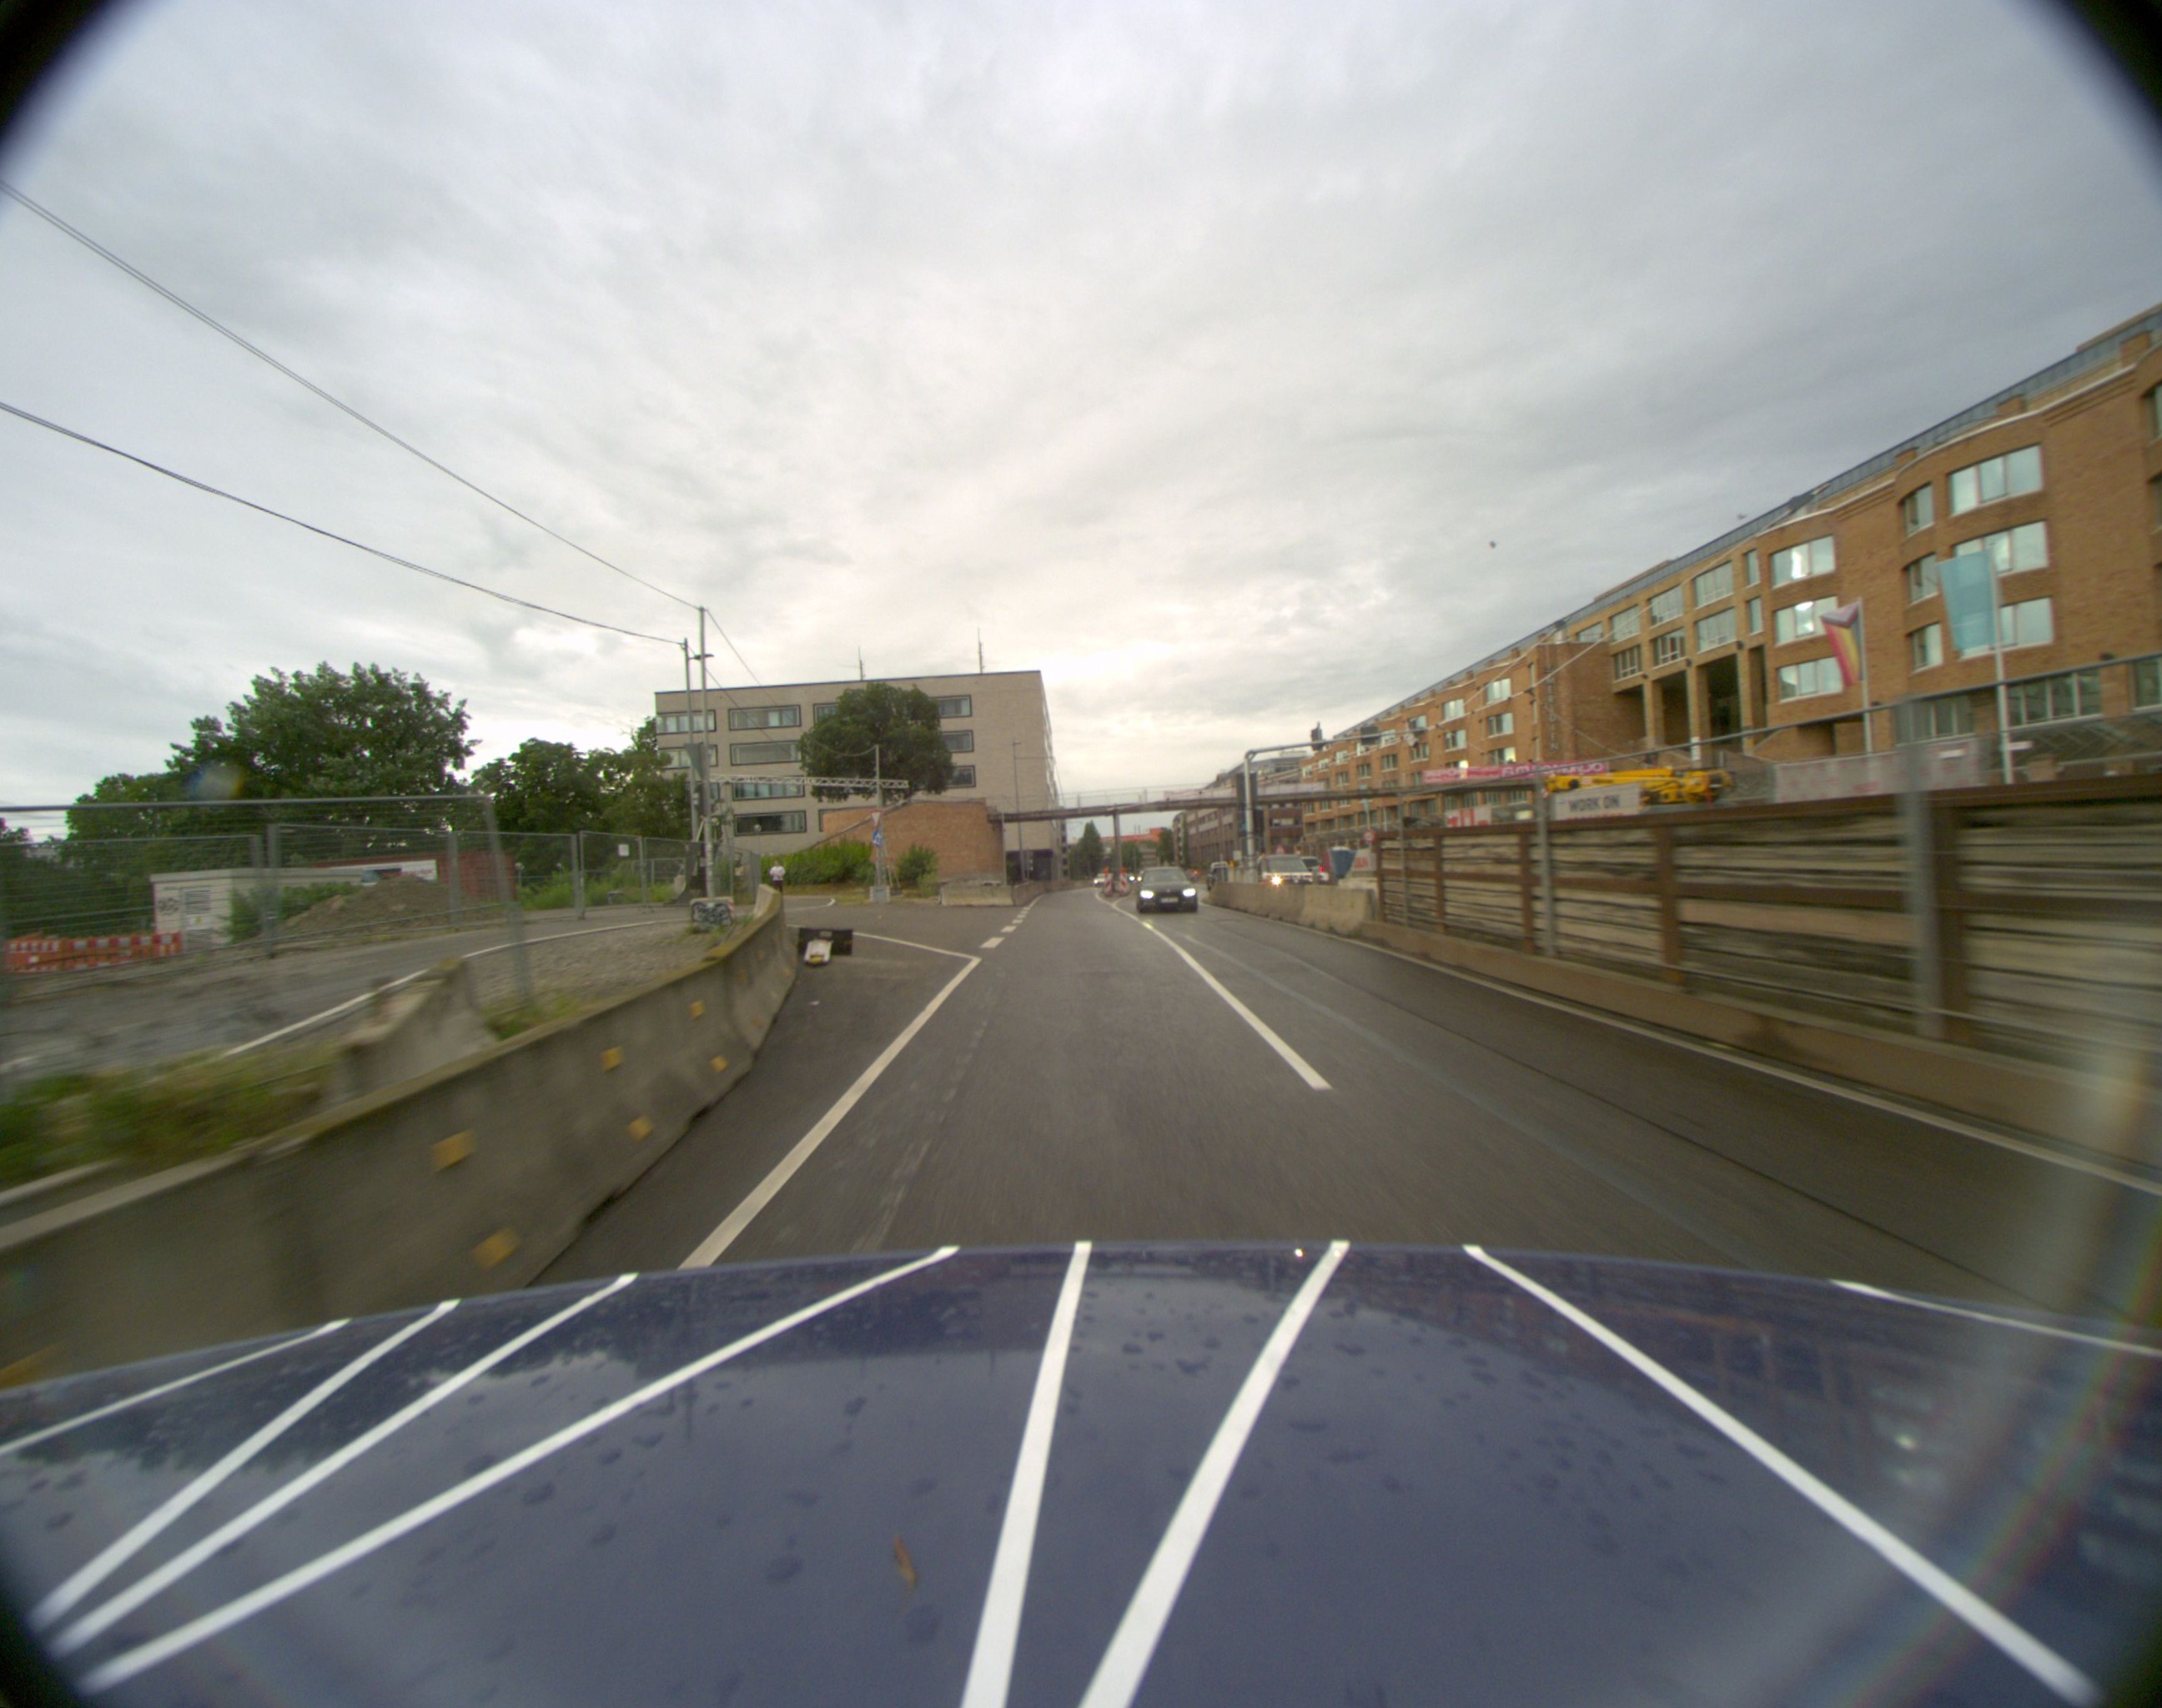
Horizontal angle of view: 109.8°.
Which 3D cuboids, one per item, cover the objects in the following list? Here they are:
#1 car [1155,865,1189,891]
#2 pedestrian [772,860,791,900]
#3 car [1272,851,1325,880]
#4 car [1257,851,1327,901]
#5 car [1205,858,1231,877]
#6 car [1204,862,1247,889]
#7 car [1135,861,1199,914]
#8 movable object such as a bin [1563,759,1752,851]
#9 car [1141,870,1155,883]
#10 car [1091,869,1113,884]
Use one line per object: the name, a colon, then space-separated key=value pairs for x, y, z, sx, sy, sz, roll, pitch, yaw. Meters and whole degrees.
car: x=6.068 y=1.578 z=50.945 sx=1.772 sy=1.524 sz=4.658 roll=-4 pitch=-1 yaw=2
pedestrian: x=-13.765 y=1.199 z=34.918 sx=0.692 sy=1.768 sz=0.814 roll=-3 pitch=0 yaw=-17
car: x=12.892 y=0.707 z=45.290 sx=1.751 sy=1.540 sz=4.524 roll=-3 pitch=-1 yaw=0
car: x=8.468 y=0.880 z=30.862 sx=1.798 sy=1.789 sz=4.252 roll=-4 pitch=-1 yaw=3
car: x=14.885 y=1.490 z=82.742 sx=1.810 sy=1.810 sz=5.302 roll=-3 pitch=-2 yaw=0
car: x=9.162 y=1.342 z=48.484 sx=1.772 sy=1.524 sz=4.357 roll=-4 pitch=-1 yaw=0
car: x=2.827 y=1.008 z=24.551 sx=1.771 sy=1.434 sz=4.660 roll=-4 pitch=-1 yaw=8
movable object such as a bin: x=16.255 y=-1.265 z=21.766 sx=2.032 sy=2.264 sz=4.293 roll=0 pitch=-1 yaw=-2
car: x=9.001 y=2.999 z=102.281 sx=1.771 sy=1.524 sz=4.659 roll=-4 pitch=-1 yaw=5
car: x=2.488 y=2.599 z=87.063 sx=1.771 sy=1.524 sz=4.660 roll=-4 pitch=-1 yaw=10
